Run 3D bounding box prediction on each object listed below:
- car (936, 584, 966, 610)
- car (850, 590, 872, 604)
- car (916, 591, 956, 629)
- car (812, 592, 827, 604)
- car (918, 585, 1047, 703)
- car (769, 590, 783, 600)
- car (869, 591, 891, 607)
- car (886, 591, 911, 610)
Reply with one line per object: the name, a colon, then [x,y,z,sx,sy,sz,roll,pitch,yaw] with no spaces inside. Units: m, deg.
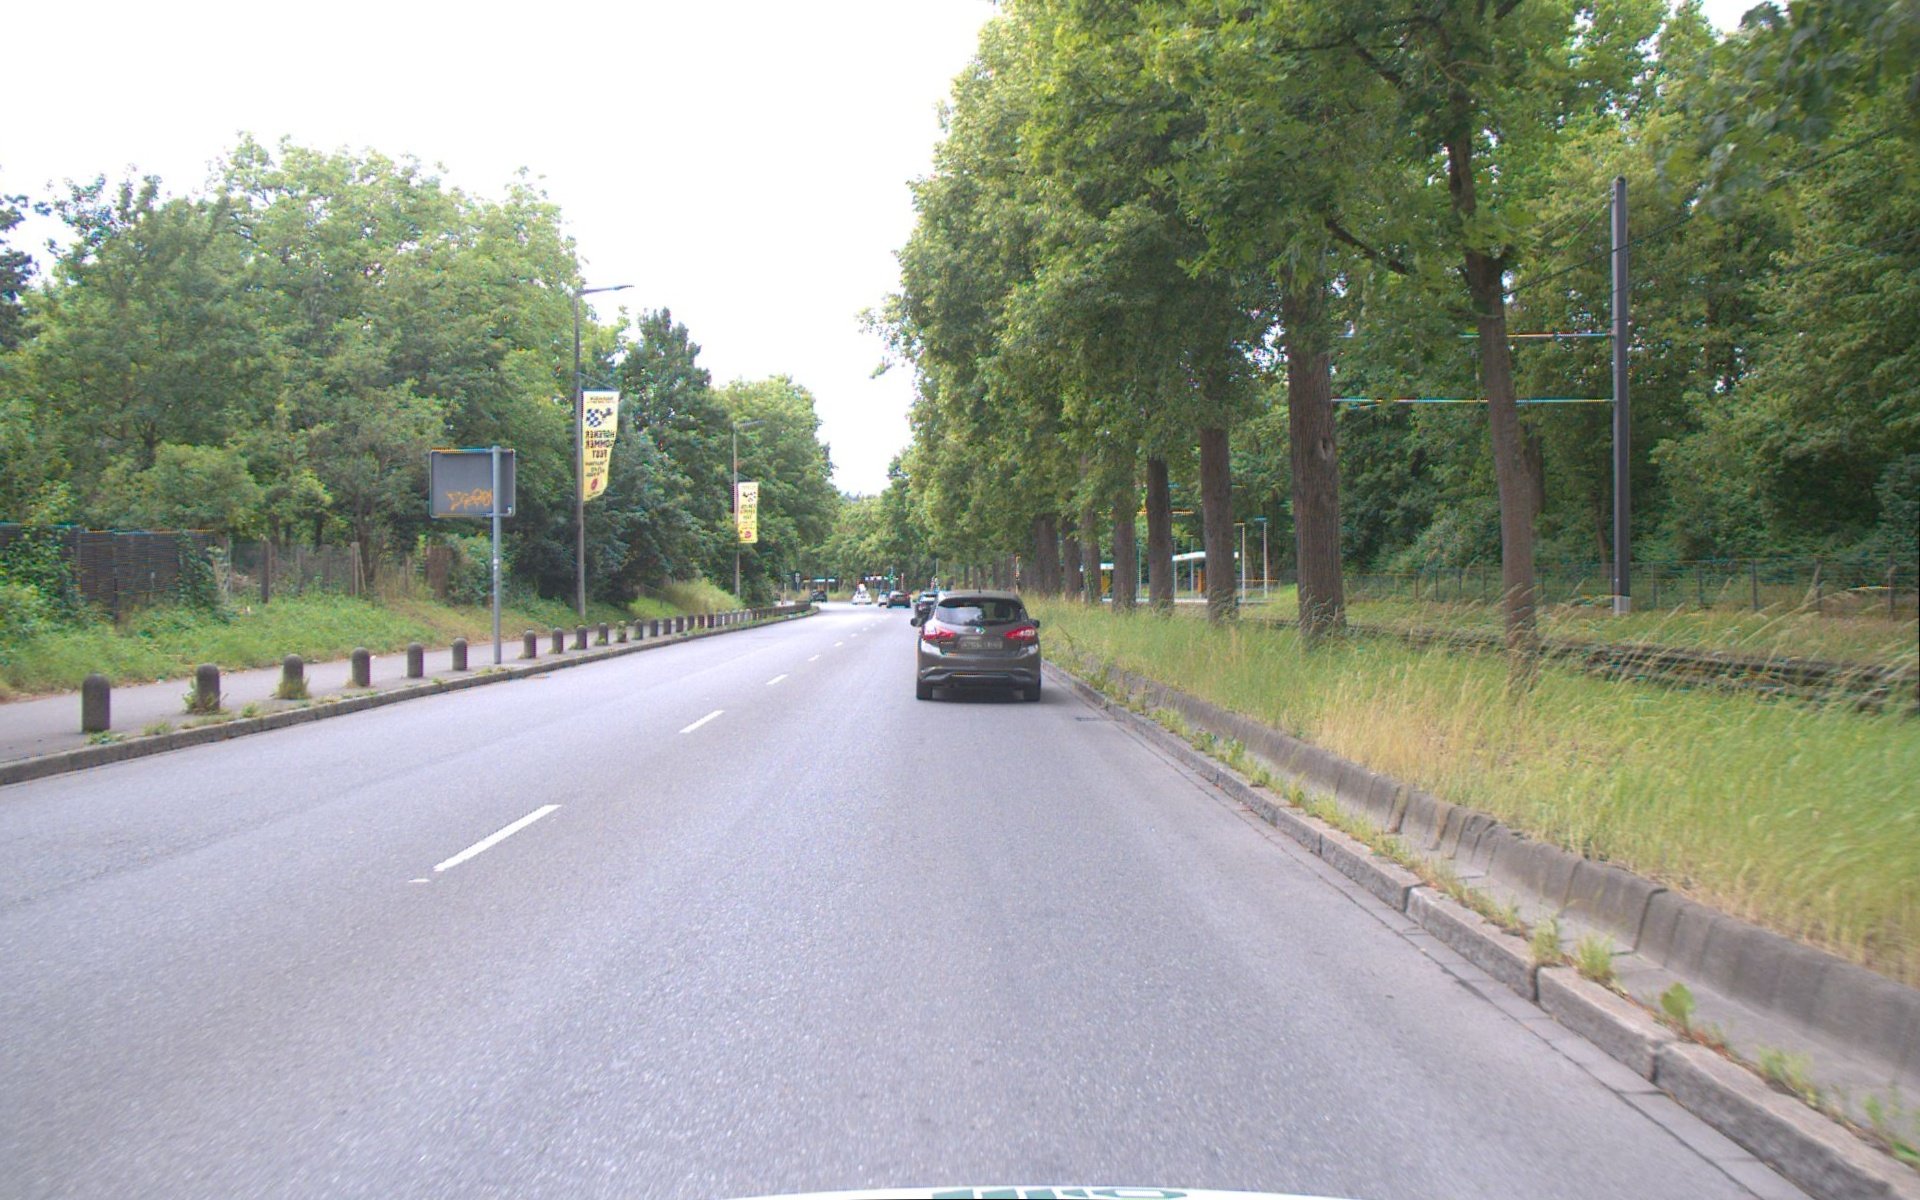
car: [-0.562,-0.195,97.626,1.530,1.466,3.549,1,0,-4]
car: [-10.509,-0.319,175.289,1.536,1.466,3.537,1,0,-16]
car: [-1.072,0.416,72.745,1.695,1.564,3.550,1,0,-2]
car: [-17.776,-0.244,208.703,1.533,1.466,3.542,1,0,-11]
car: [0.261,0.578,24.043,1.695,1.564,3.550,1,0,-2]
car: [-27.076,-0.756,243.596,1.535,1.466,3.539,1,0,-14]
car: [-7.448,-0.104,153.610,1.534,1.466,3.541,1,0,-12]
car: [-5.139,0.038,137.604,1.534,1.466,3.541,1,0,-12]
